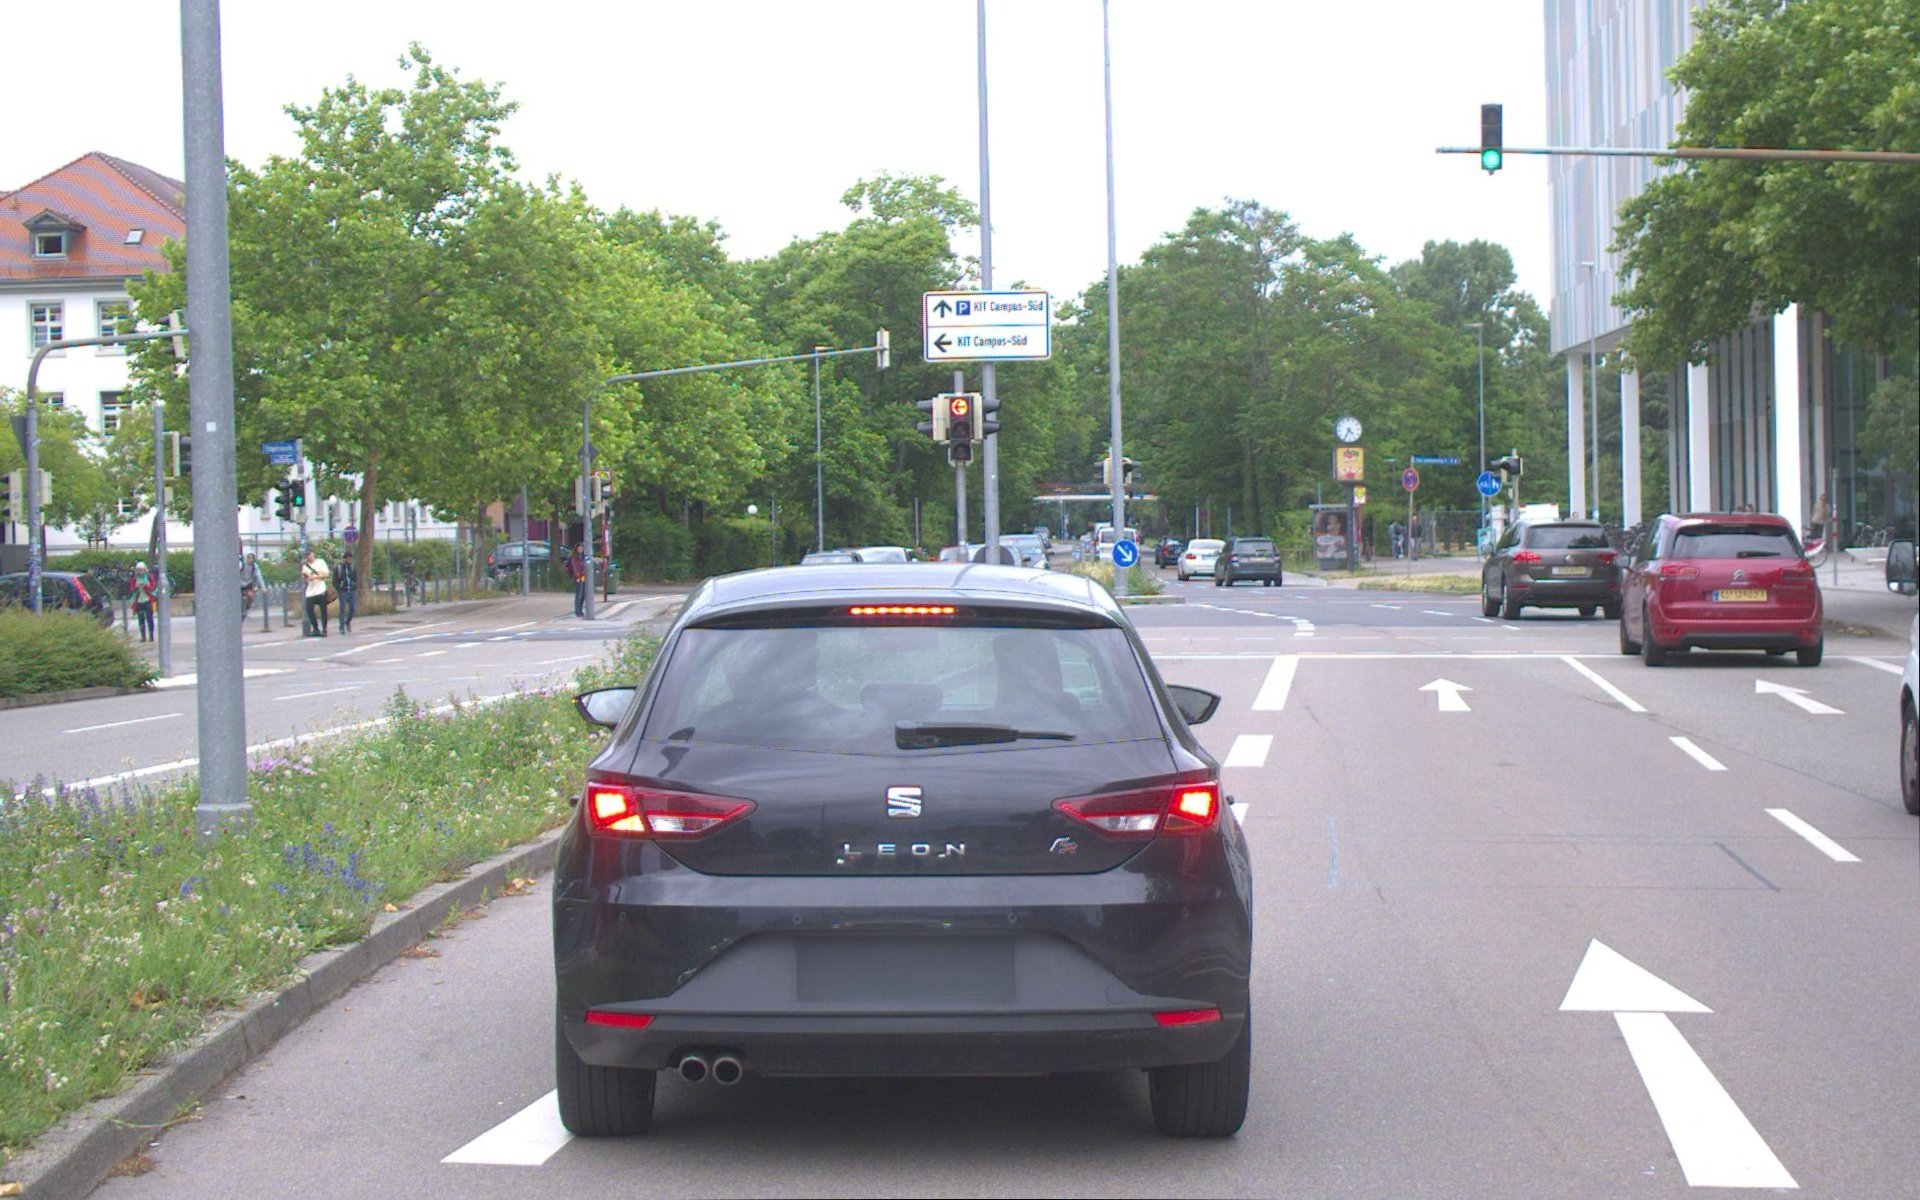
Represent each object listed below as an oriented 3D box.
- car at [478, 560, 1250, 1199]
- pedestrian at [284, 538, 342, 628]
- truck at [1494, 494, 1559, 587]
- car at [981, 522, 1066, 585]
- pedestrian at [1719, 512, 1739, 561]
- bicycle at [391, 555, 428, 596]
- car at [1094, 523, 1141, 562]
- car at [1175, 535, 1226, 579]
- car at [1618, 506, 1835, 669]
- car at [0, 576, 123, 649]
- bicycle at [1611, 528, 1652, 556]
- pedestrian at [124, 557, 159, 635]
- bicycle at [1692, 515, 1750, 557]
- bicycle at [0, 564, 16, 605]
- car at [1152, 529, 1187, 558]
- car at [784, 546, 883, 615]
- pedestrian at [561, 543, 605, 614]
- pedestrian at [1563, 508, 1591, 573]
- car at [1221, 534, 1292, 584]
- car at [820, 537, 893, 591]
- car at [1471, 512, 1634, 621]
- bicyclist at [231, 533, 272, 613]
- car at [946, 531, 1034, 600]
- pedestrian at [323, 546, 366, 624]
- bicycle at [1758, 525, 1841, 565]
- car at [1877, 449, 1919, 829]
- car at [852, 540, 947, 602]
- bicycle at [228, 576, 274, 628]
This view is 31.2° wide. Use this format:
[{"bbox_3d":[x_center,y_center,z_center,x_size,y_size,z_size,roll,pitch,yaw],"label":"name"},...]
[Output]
[{"bbox_3d":[-0.116,0.610,9.673,1.753,1.427,3.769,0,1,3],"label":"car"},{"bbox_3d":[-13.013,-0.338,69.143,0.840,1.734,0.830,-1,-4,-32],"label":"pedestrian"},{"bbox_3d":[14.258,-1.520,86.644,1.318,2.235,3.401,-3,1,6],"label":"truck"},{"bbox_3d":[1.843,-1.332,98.305,1.921,1.659,4.398,-3,1,7],"label":"car"},{"bbox_3d":[21.868,-1.813,97.781,0.472,1.357,0.445,-2,1,17],"label":"pedestrian"},{"bbox_3d":[-14.890,-0.673,93.042,0.607,1.056,2.044,-3,1,0],"label":"bicycle"},{"bbox_3d":[6.455,-2.378,141.257,1.695,1.498,4.010,-3,1,0],"label":"car"},{"bbox_3d":[8.260,-1.491,118.192,1.616,1.349,4.000,-3,1,3],"label":"car"},{"bbox_3d":[8.104,-0.180,36.643,1.950,1.618,3.748,0,2,8],"label":"car"},{"bbox_3d":[-18.936,0.255,69.366,3.655,1.219,1.564,-1,8,0],"label":"car"},{"bbox_3d":[23.614,-2.046,120.932,1.388,0.938,0.487,-2,1,14],"label":"bicycle"},{"bbox_3d":[-16.470,-0.077,69.173,0.570,1.521,0.849,-2,-3,-17],"label":"pedestrian"},{"bbox_3d":[23.629,-1.997,106.721,1.772,1.207,0.570,-3,1,-27],"label":"bicycle"},{"bbox_3d":[-25.306,-0.368,89.336,1.400,1.048,0.589,-3,1,-13],"label":"bicycle"},{"bbox_3d":[9.357,-2.527,153.622,1.505,1.189,3.163,-3,1,3],"label":"car"},{"bbox_3d":[-2.814,-0.462,77.085,1.608,1.376,3.808,-3,1,7],"label":"car"},{"bbox_3d":[-8.599,-0.496,78.427,0.874,1.580,0.543,-3,1,0],"label":"pedestrian"},{"bbox_3d":[17.061,-1.642,95.104,0.687,1.775,0.677,-1,1,6],"label":"pedestrian"},{"bbox_3d":[8.756,-1.225,101.818,1.899,1.349,3.882,-3,1,3],"label":"car"},{"bbox_3d":[-3.576,-1.268,119.162,1.907,1.711,3.999,-3,1,6],"label":"car"},{"bbox_3d":[9.879,-0.593,57.619,1.914,1.658,4.115,-3,1,-1],"label":"car"},{"bbox_3d":[-14.578,-0.555,70.766,0.666,1.630,0.961,0,0,-2],"label":"bicyclist"},{"bbox_3d":[0.736,-0.805,80.704,1.764,1.455,4.791,-3,0,3],"label":"car"},{"bbox_3d":[-12.559,-0.298,70.137,0.789,1.553,0.699,-1,-2,-14],"label":"pedestrian"},{"bbox_3d":[20.878,-1.372,85.505,1.885,0.895,0.697,-3,1,-14],"label":"bicycle"},{"bbox_3d":[5.857,0.236,16.717,1.967,1.965,4.343,1,2,5],"label":"car"},{"bbox_3d":[-1.540,-0.771,88.865,1.705,1.426,4.226,-3,1,9],"label":"car"},{"bbox_3d":[-14.578,0.043,70.749,0.666,1.058,1.619,0,0,-2],"label":"bicycle"}]
